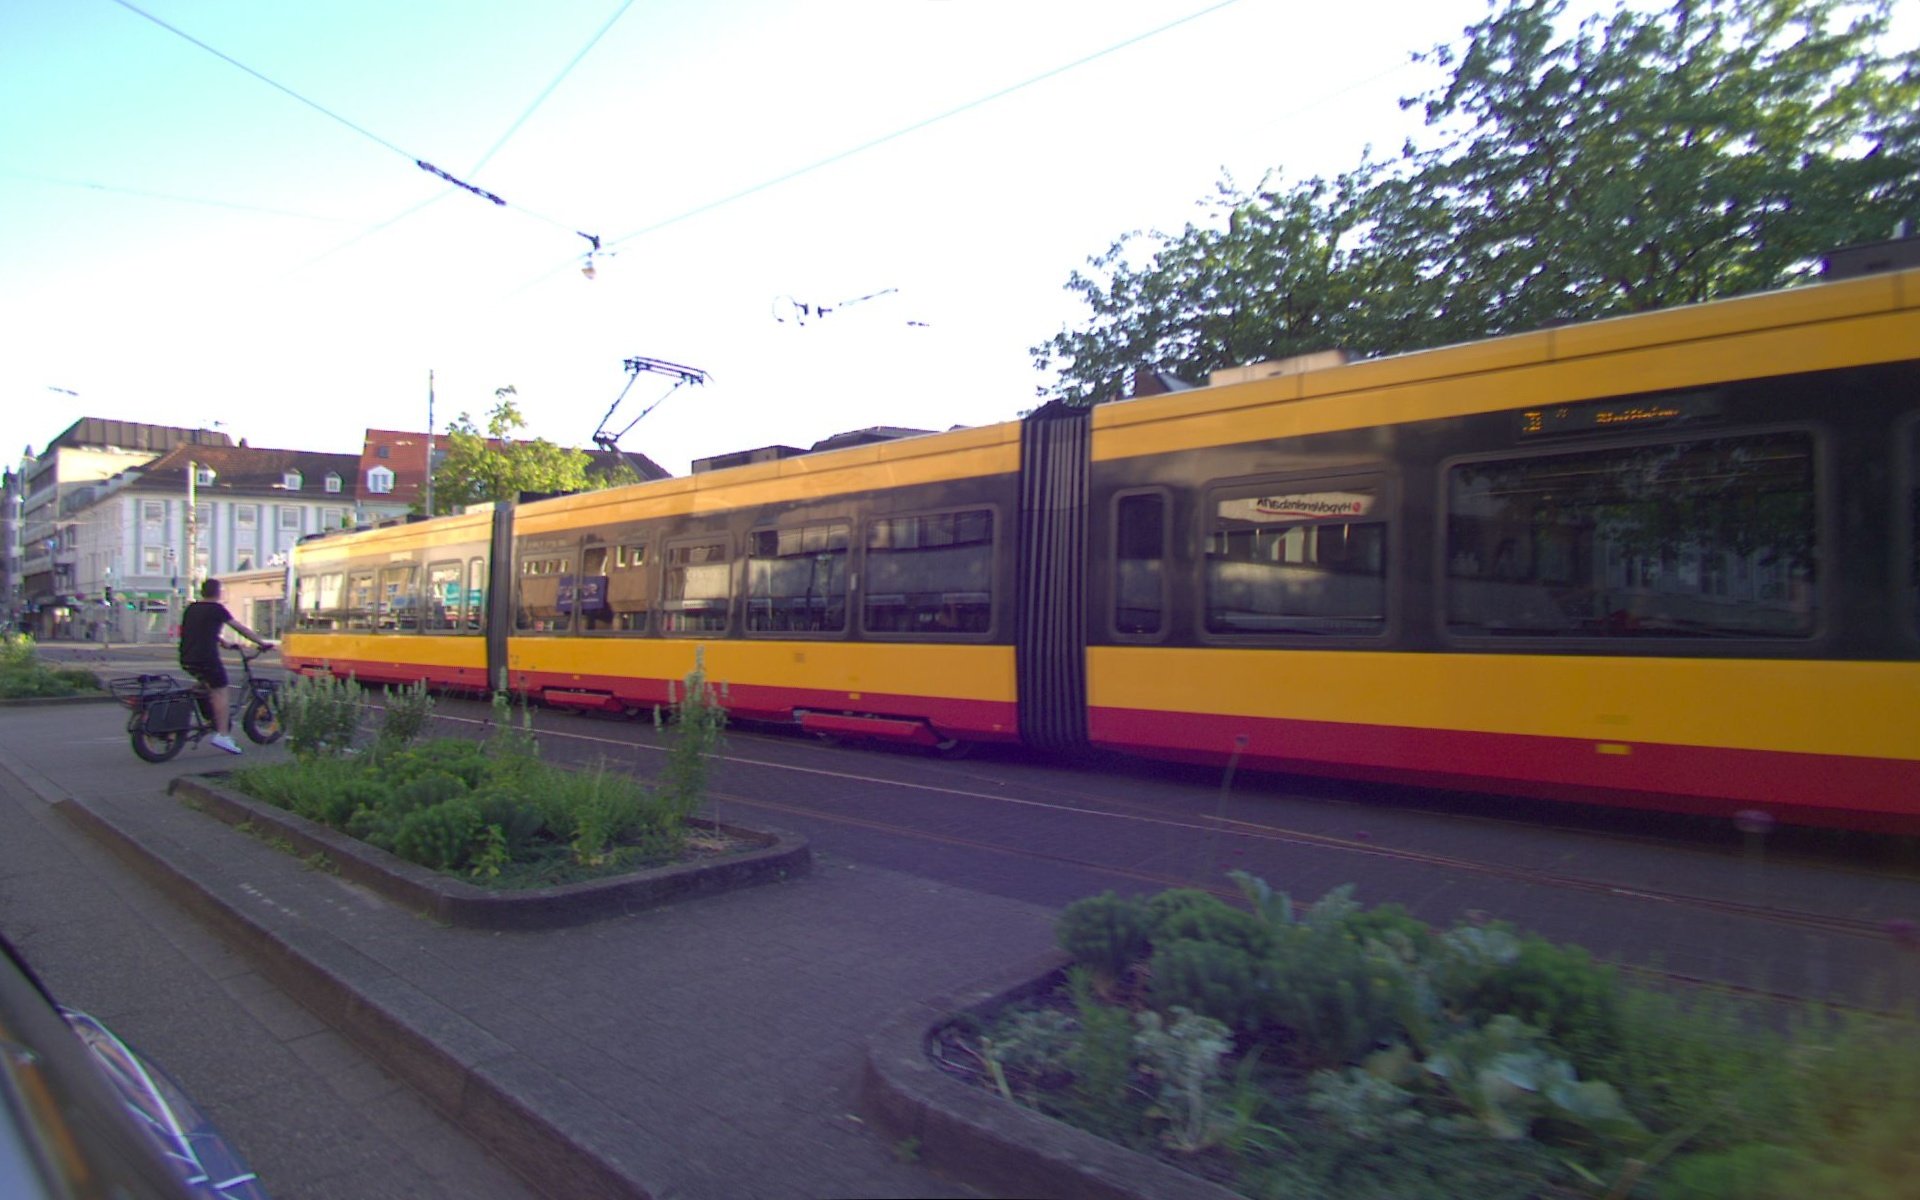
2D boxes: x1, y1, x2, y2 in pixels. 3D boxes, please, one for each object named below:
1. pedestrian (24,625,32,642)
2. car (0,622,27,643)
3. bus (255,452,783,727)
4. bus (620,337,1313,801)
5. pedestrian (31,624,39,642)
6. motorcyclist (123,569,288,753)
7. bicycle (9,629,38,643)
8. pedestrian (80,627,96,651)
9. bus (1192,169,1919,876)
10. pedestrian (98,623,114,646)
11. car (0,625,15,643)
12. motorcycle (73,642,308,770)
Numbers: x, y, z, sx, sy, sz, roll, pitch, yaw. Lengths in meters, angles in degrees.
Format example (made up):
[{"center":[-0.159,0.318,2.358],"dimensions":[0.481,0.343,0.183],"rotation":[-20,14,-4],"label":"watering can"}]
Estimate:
[{"center":[-92.699,3.310,100.663],"dimensions":[0.583,1.697,0.503],"rotation":[0,0,40],"label":"pedestrian"},{"center":[-85.790,2.918,91.364],"dimensions":[4.127,1.809,1.890],"rotation":[-1,0,41],"label":"car"},{"center":[-10.010,0.038,20.230],"dimensions":[17.066,3.679,2.792],"rotation":[-1,-2,42],"label":"bus"},{"center":[-0.496,-0.190,11.774],"dimensions":[8.286,3.652,2.792],"rotation":[-1,-2,42],"label":"bus"},{"center":[-92.428,3.307,101.140],"dimensions":[0.600,1.747,0.509],"rotation":[1,-1,41],"label":"pedestrian"},{"center":[-7.973,0.614,10.731],"dimensions":[0.950,1.827,1.000],"rotation":[1,-1,15],"label":"motorcyclist"},{"center":[-76.554,2.933,82.750],"dimensions":[1.715,1.067,0.499],"rotation":[1,-4,-41],"label":"bicycle"},{"center":[-64.665,2.889,75.037],"dimensions":[0.814,1.741,0.816],"rotation":[0,-1,-33],"label":"pedestrian"},{"center":[7.165,-0.416,5.094],"dimensions":[11.818,3.640,2.792],"rotation":[-2,-2,42],"label":"bus"},{"center":[-63.237,2.547,74.914],"dimensions":[0.814,1.653,0.816],"rotation":[0,-2,-33],"label":"pedestrian"},{"center":[-90.472,3.236,95.307],"dimensions":[3.997,1.636,1.679],"rotation":[-2,-2,41],"label":"car"},{"center":[-7.986,1.047,10.640],"dimensions":[0.563,1.132,2.041],"rotation":[1,-1,14],"label":"motorcycle"}]
